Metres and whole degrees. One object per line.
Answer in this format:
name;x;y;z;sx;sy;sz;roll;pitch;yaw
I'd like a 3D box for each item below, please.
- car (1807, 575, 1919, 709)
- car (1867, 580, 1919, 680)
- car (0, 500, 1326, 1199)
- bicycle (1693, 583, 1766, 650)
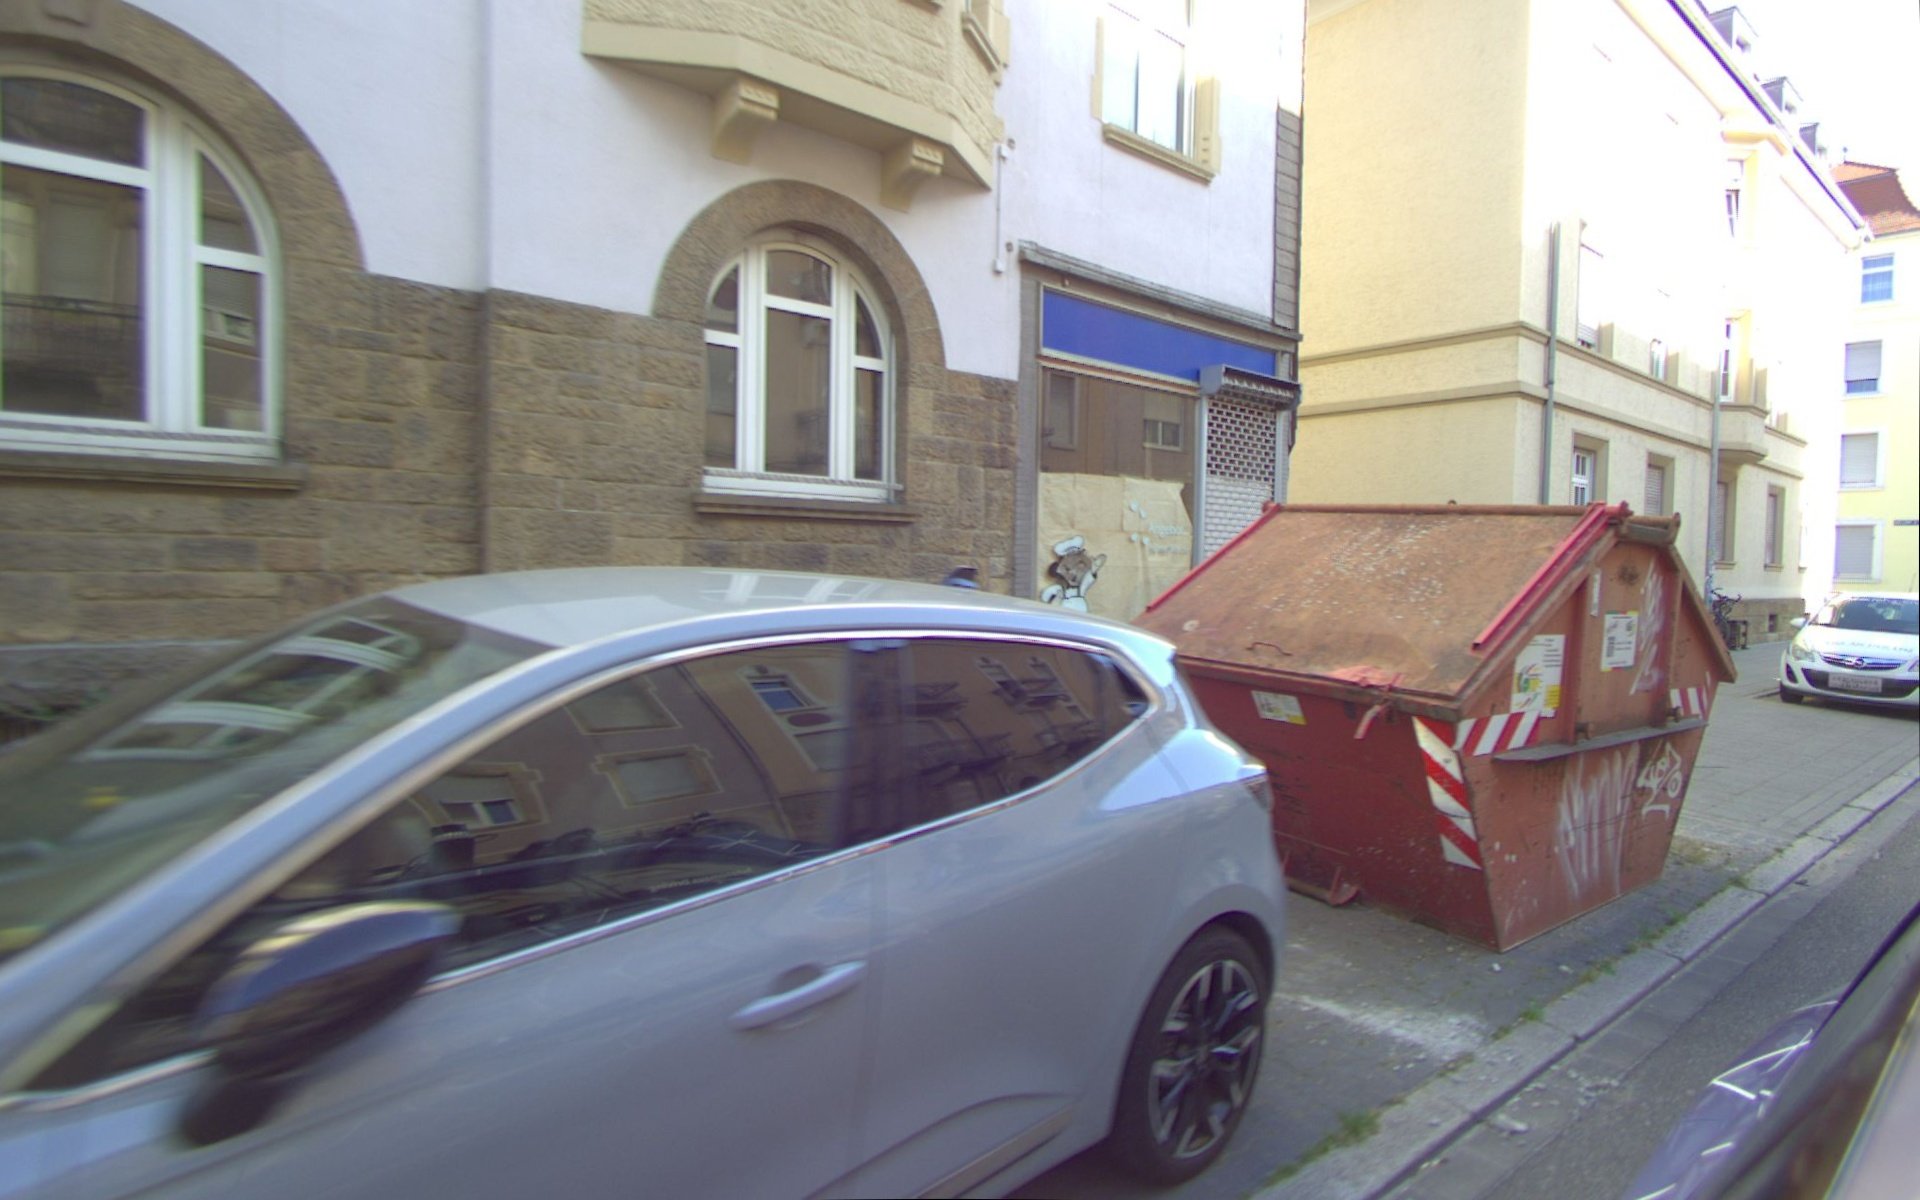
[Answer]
car;12.091;0.471;12.753;3.647;1.482;1.589;0;3;-41
car;16.076;0.462;16.244;4.021;1.482;1.657;0;2;-40
car;-0.970;0.588;2.198;3.743;1.447;1.788;0;2;-43
bicycle;14.867;0.289;19.535;1.924;1.215;0.830;0;2;-44
